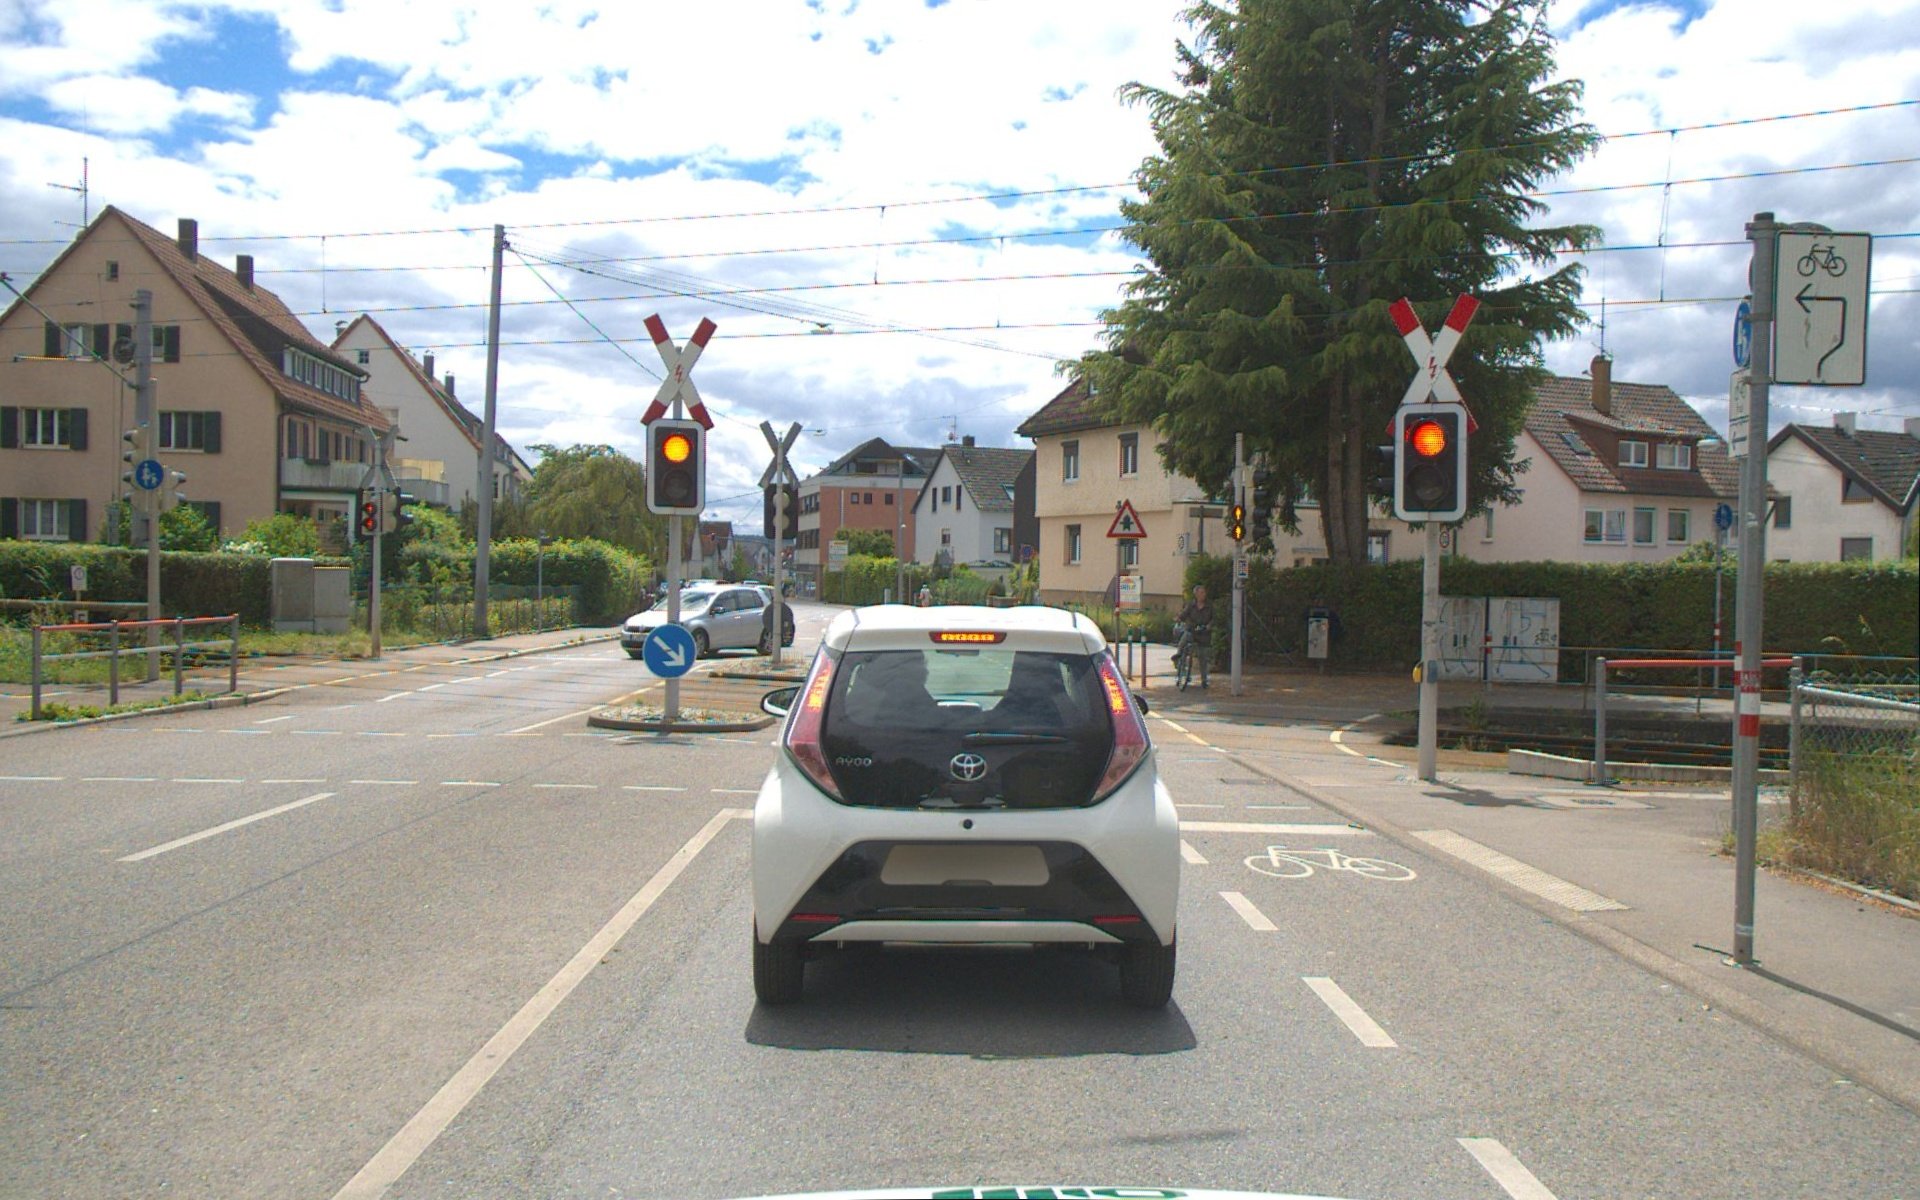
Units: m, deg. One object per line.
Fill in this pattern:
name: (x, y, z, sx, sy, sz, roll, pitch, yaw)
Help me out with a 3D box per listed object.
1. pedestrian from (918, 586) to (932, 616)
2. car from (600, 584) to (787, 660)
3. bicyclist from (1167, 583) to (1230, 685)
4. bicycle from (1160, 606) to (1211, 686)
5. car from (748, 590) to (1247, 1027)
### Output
pedestrian: (-1.899, 0.033, 90.632, 0.711, 1.604, 0.803, 2, 0, -1)
car: (-5.603, 0.457, 35.249, 1.868, 1.466, 4.093, 2, 0, 27)
bicyclist: (3.891, 0.547, 27.036, 0.825, 1.580, 0.755, -2, 3, -7)
bicycle: (3.693, 0.743, 27.165, 0.448, 1.192, 1.477, -2, 3, -6)
car: (0.008, 0.719, 7.545, 1.687, 1.467, 3.705, 2, 0, -4)
